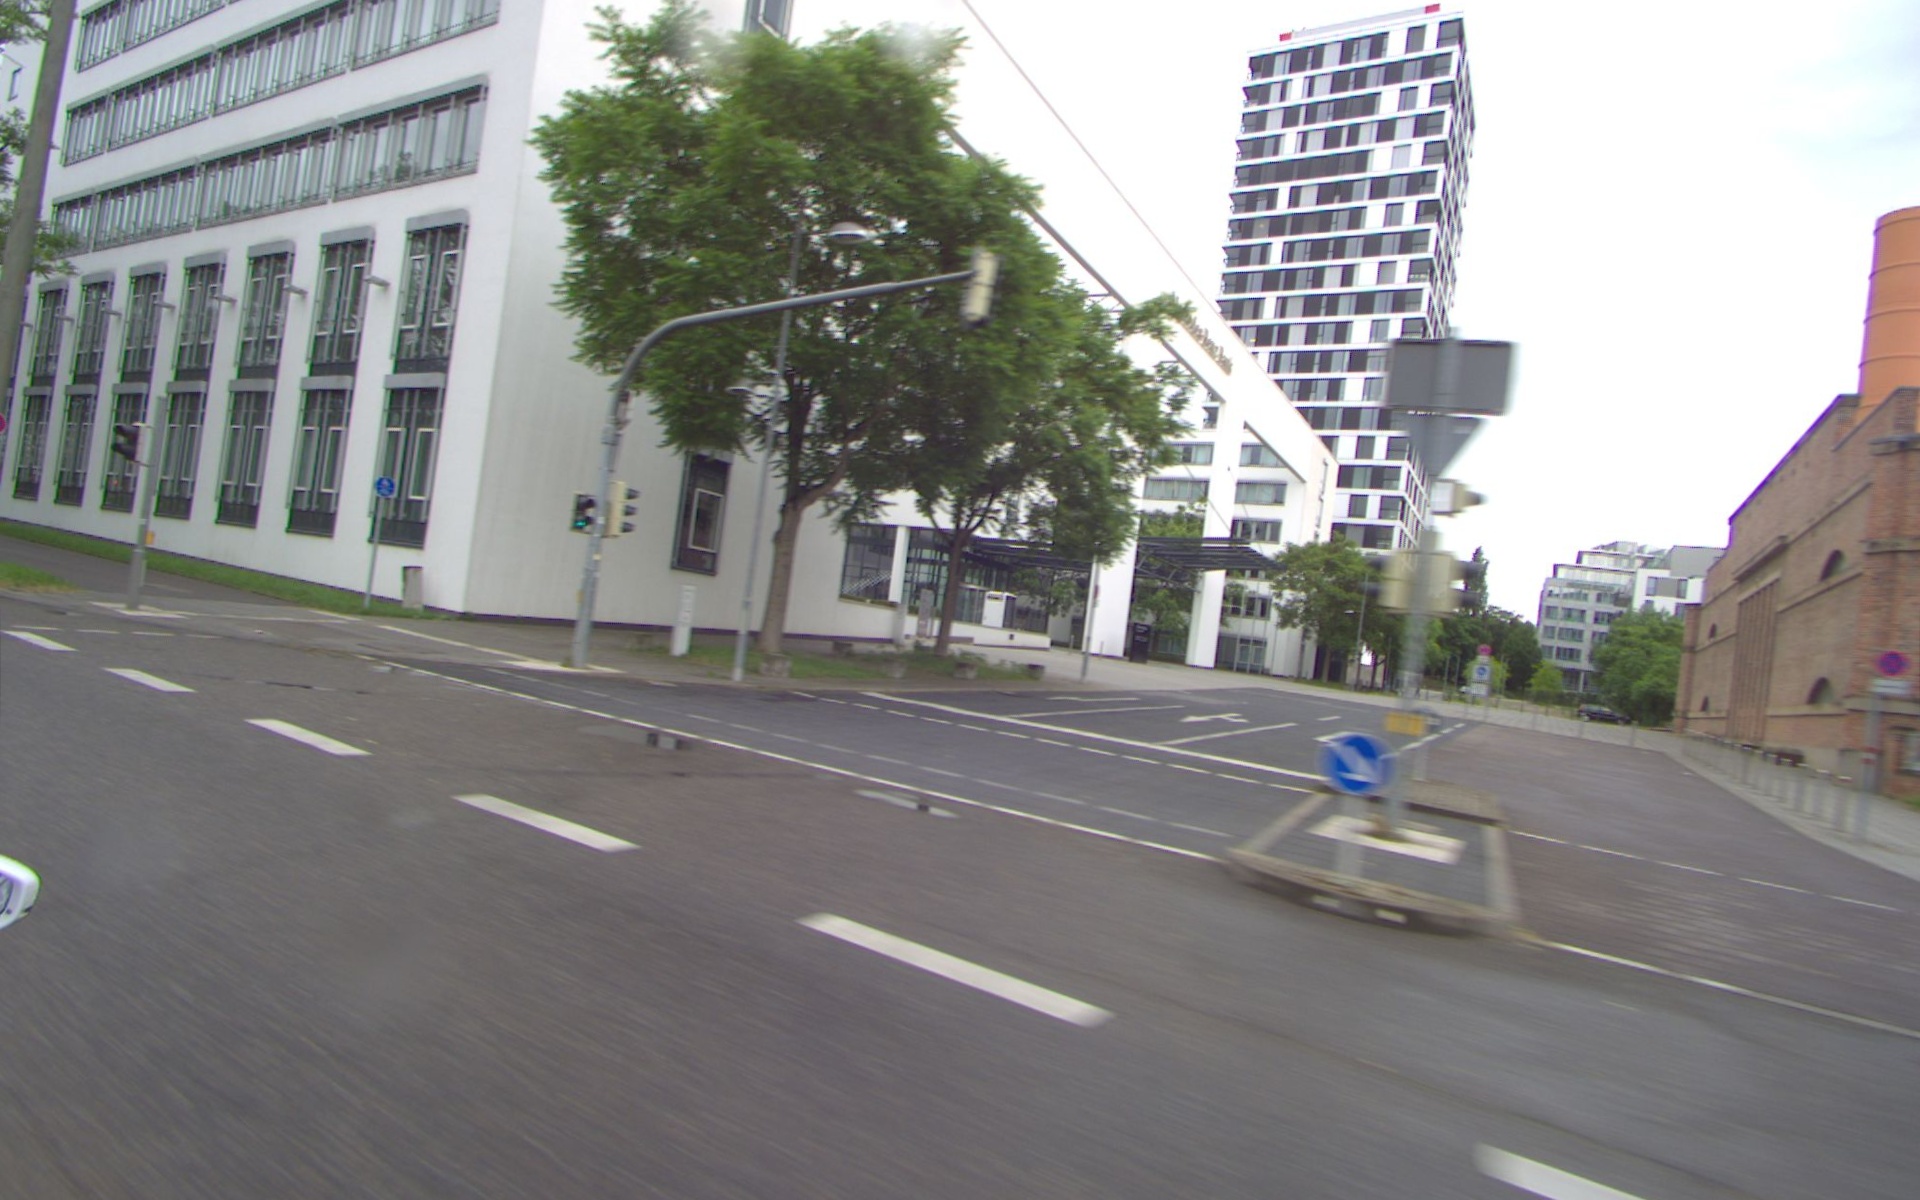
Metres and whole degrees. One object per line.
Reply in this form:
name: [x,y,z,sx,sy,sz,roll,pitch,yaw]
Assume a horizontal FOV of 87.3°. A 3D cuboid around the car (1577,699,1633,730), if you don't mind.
car: [55.874,9.917,87.209,3.936,2.036,1.997,5,-3,34]
